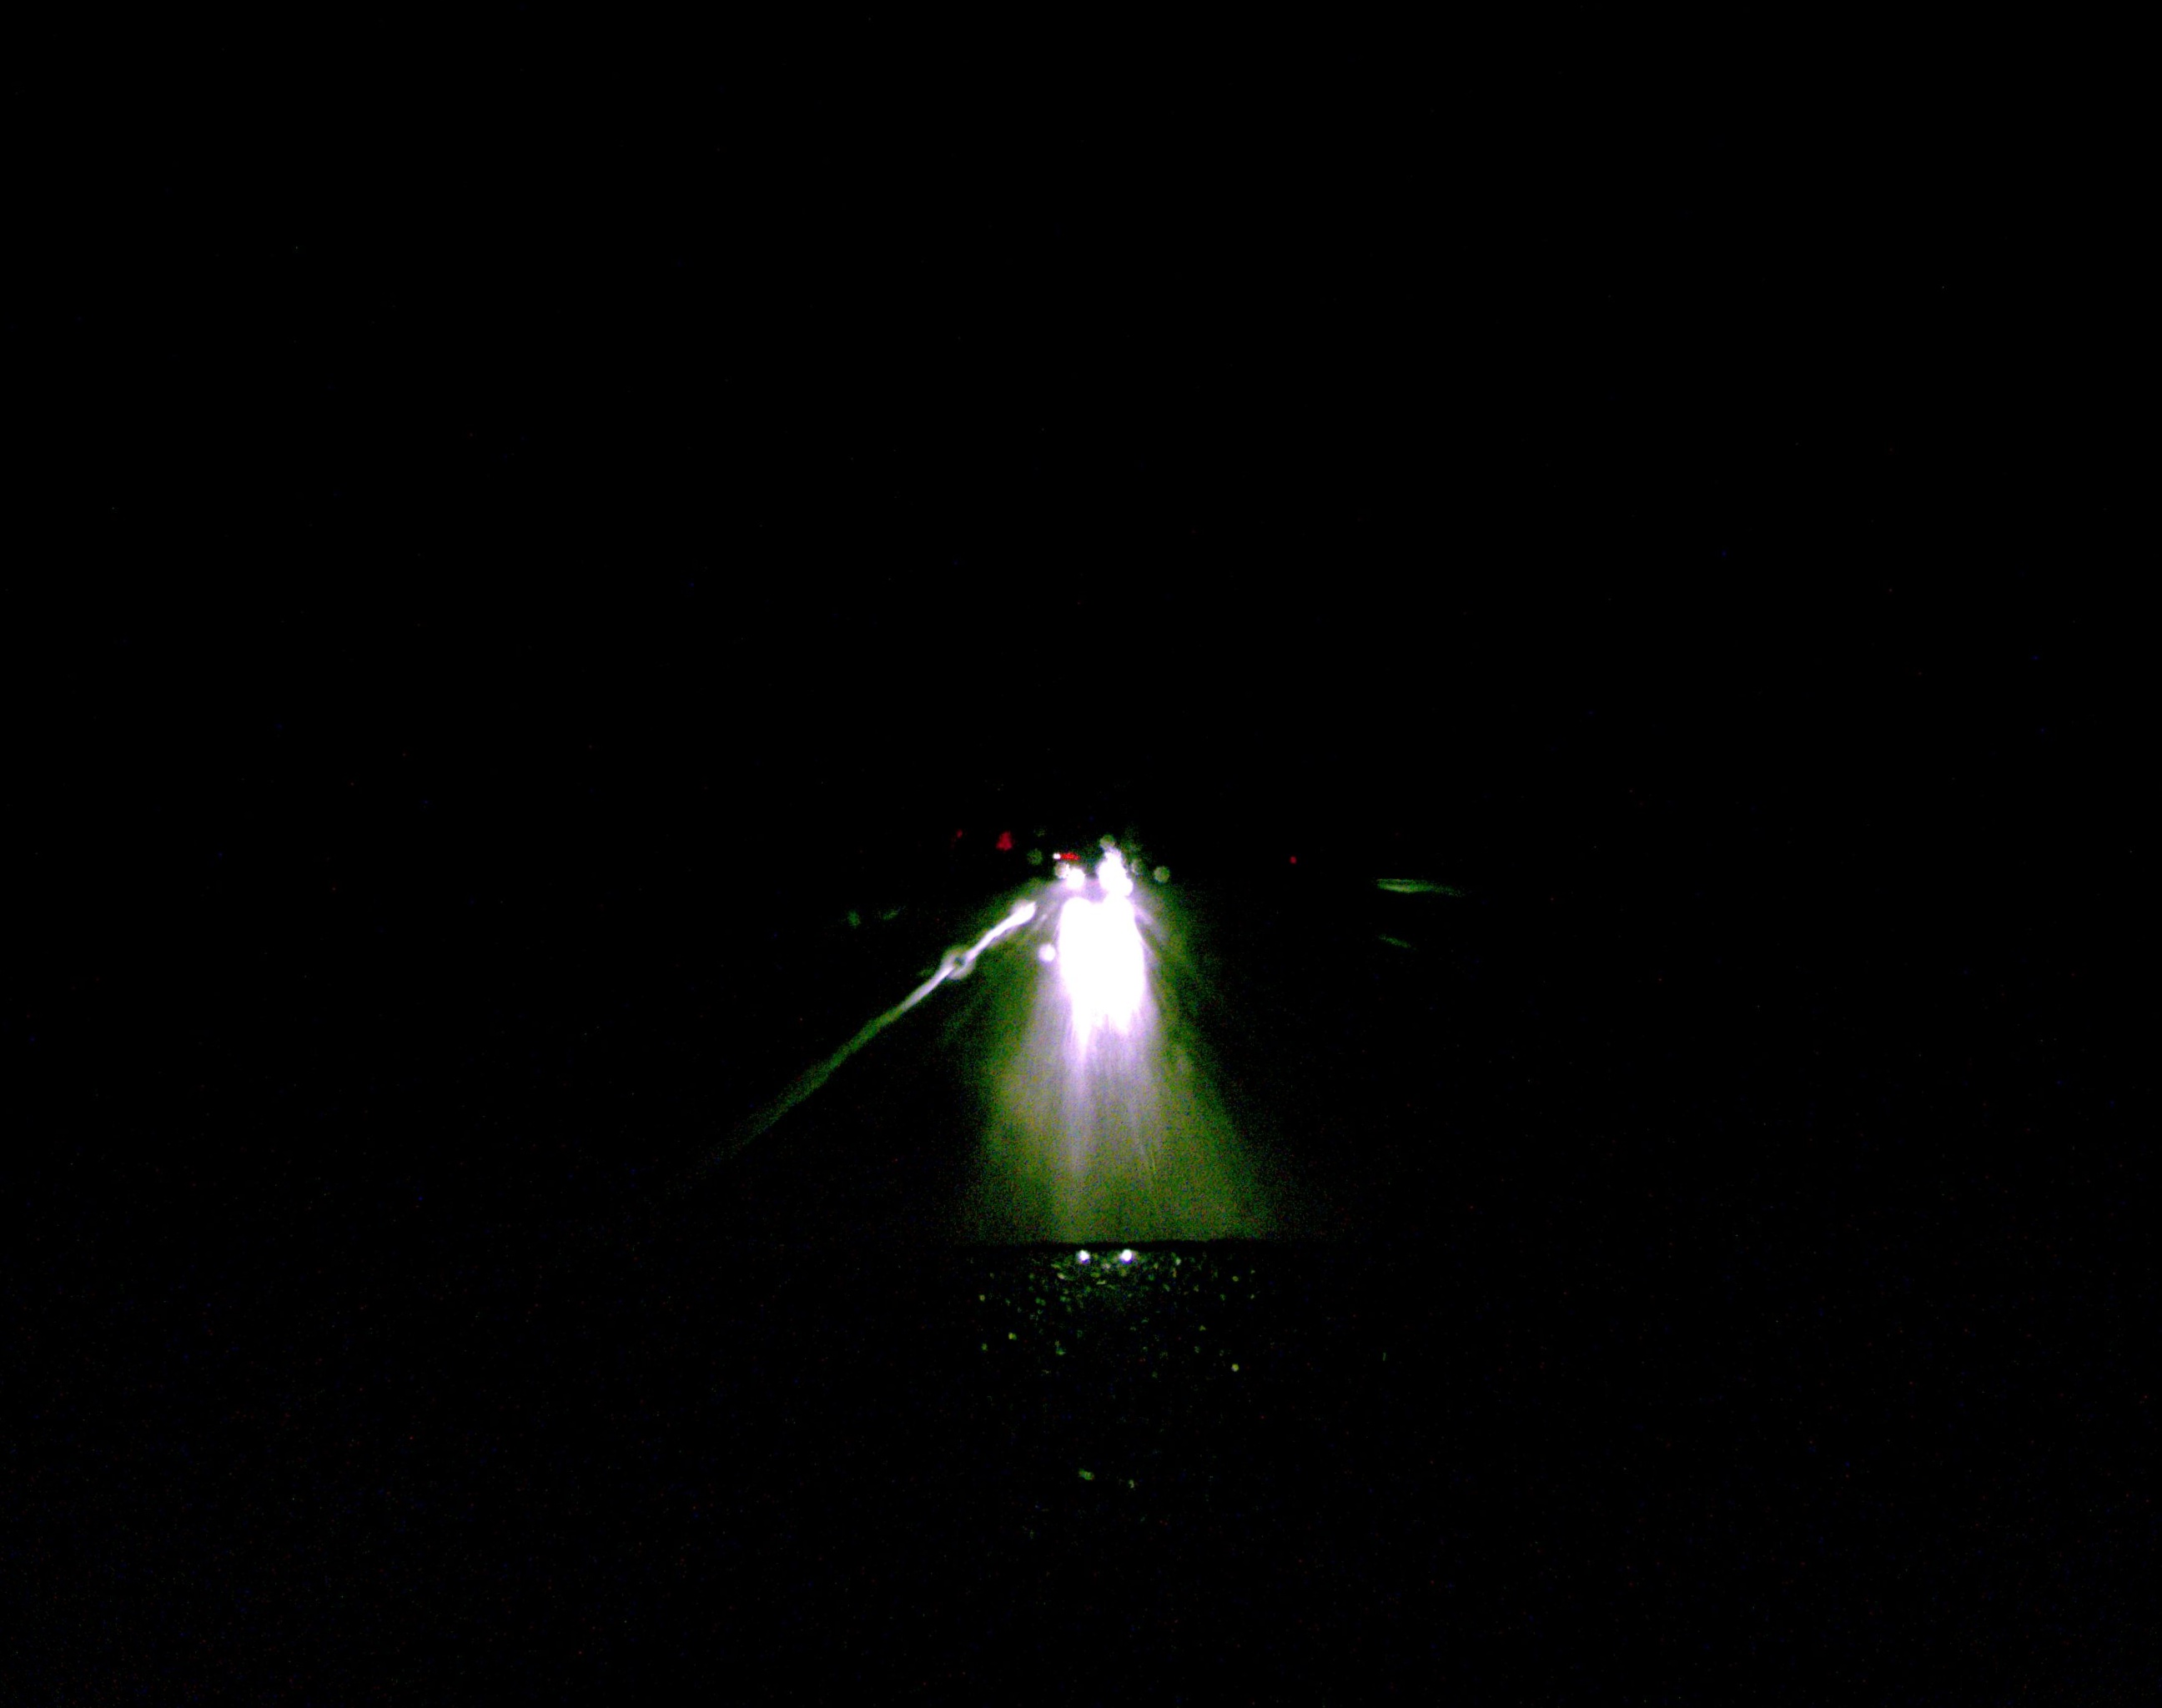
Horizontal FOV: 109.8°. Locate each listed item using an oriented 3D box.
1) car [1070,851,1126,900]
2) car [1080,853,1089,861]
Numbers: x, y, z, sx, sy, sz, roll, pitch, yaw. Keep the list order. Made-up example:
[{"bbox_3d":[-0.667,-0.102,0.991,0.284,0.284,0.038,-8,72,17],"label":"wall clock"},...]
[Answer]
[{"bbox_3d":[0.560,0.759,28.789,1.863,1.601,4.419,-4,0,-1],"label":"car"},{"bbox_3d":[0.825,0.751,173.469,1.894,1.628,4.155,-3,1,-1],"label":"car"}]
